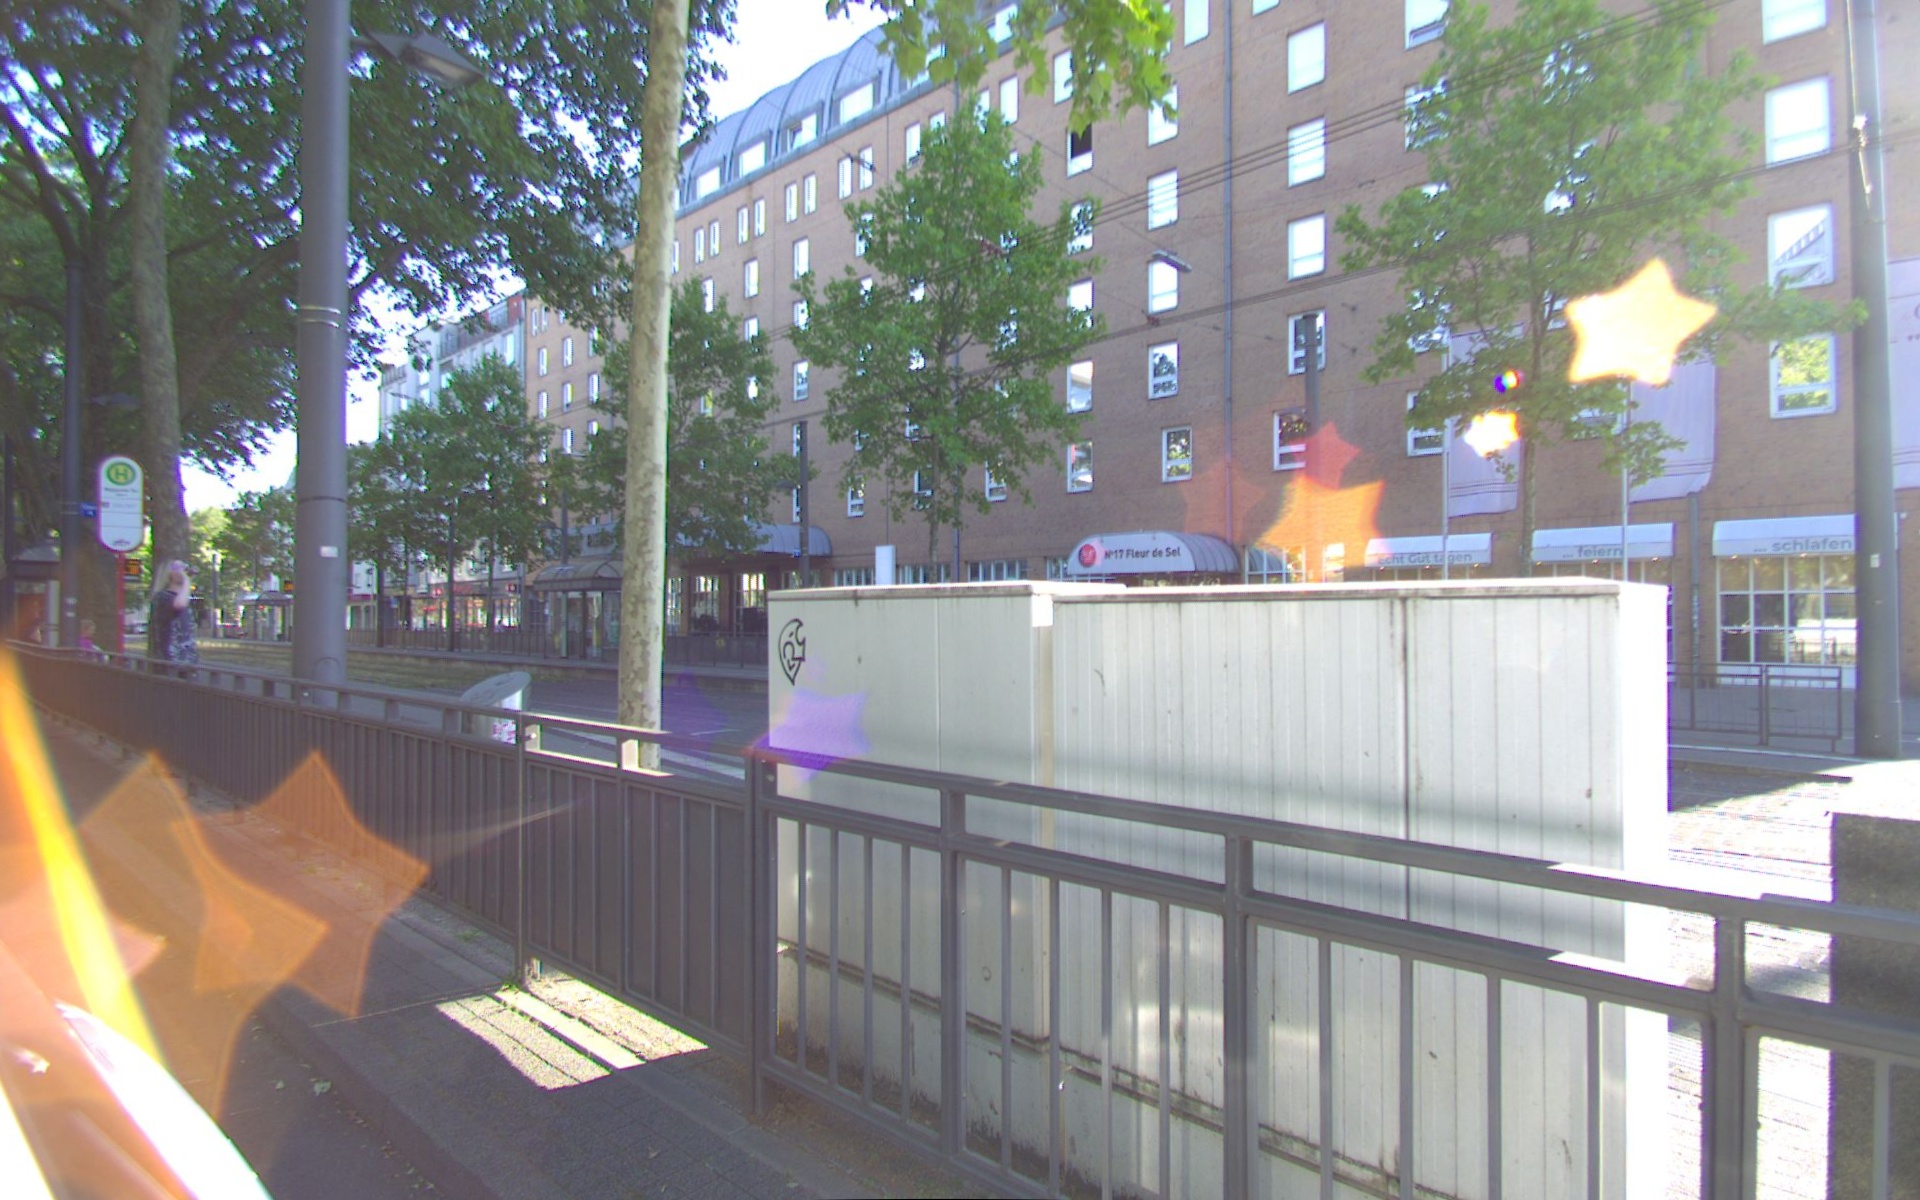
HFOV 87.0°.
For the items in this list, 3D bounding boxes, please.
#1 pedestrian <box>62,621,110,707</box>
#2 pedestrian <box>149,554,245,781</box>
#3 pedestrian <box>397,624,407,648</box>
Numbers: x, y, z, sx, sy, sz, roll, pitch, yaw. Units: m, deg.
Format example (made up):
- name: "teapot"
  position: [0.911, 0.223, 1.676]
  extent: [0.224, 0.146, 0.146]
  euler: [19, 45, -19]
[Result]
- name: "pedestrian"
  position: [-14.024, 1.012, 16.255]
  extent: [0.534, 1.327, 0.525]
  euler: [-1, 0, -37]
- name: "pedestrian"
  position: [-6.498, 0.547, 8.621]
  extent: [0.524, 1.848, 0.536]
  euler: [-1, 0, 41]
- name: "pedestrian"
  position: [-41.784, 2.684, 75.816]
  extent: [0.574, 1.748, 0.497]
  euler: [-2, -2, 43]
